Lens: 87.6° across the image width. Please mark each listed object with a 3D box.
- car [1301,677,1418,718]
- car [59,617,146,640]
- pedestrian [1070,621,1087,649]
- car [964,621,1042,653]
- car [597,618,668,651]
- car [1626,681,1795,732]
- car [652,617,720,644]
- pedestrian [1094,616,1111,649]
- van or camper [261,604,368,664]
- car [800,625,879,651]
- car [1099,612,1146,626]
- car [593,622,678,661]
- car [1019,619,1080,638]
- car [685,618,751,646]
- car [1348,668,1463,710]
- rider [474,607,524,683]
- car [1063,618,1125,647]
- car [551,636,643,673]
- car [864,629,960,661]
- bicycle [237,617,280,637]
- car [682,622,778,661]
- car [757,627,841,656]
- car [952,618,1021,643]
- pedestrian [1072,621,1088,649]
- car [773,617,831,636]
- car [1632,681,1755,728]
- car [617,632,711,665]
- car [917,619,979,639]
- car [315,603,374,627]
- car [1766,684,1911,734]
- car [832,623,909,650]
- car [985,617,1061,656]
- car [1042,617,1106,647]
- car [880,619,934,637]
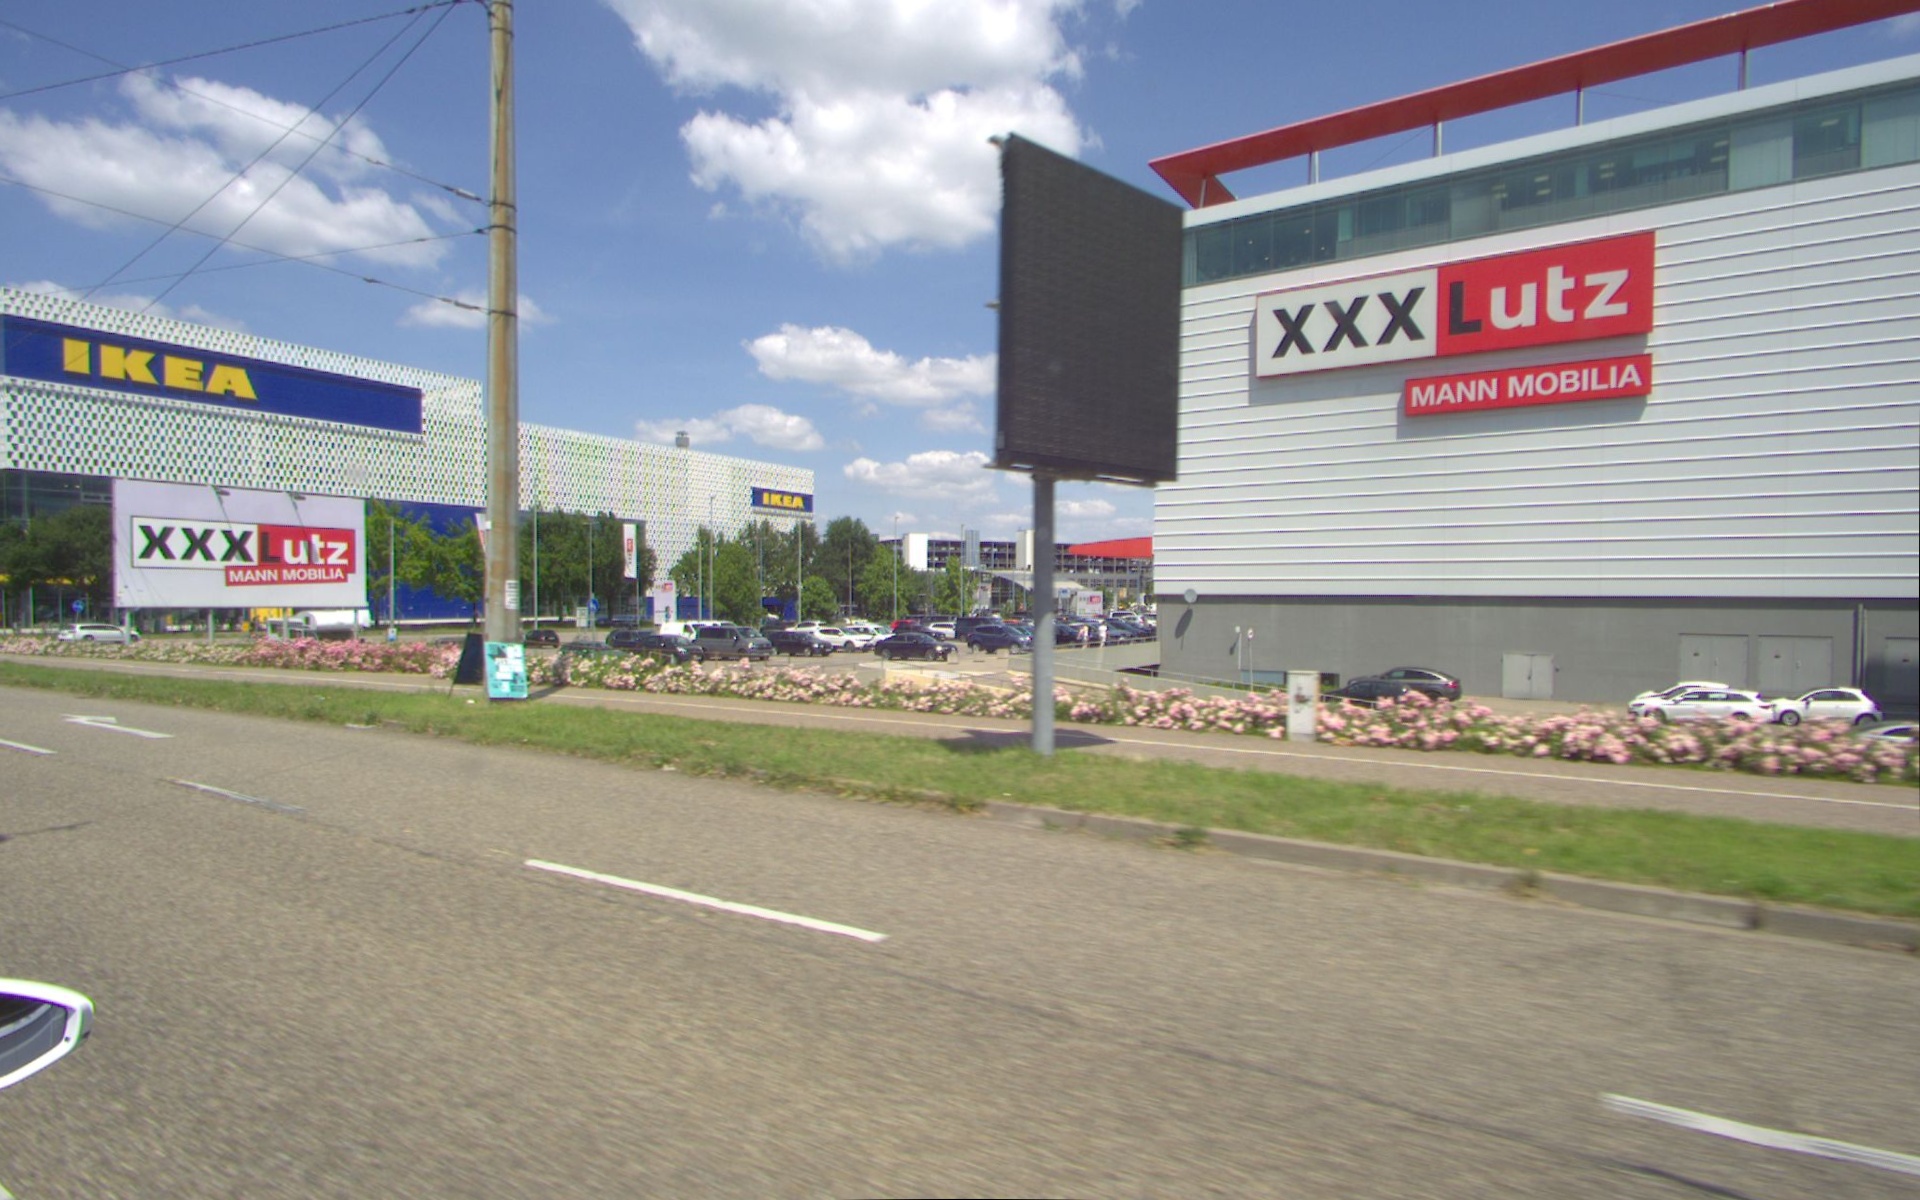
[{"bbox_3d":[16.611,4.031,41.648,4.288,1.416,1.991,0,-2,31],"label":"car"},{"bbox_3d":[-62.020,2.077,72.495,1.964,1.505,4.386,1,-2,17],"label":"car"},{"bbox_3d":[6.839,2.009,57.683,0.725,1.578,0.740,0,-1,30],"label":"pedestrian"},{"bbox_3d":[2.547,2.221,59.856,4.271,1.804,1.991,0,-3,33],"label":"car"},{"bbox_3d":[-22.648,2.349,69.094,4.929,2.162,1.990,0,-1,33],"label":"car"},{"bbox_3d":[28.968,4.086,38.892,5.073,1.632,1.990,-1,-2,32],"label":"car"},{"bbox_3d":[-20.005,2.209,73.077,4.929,1.876,1.990,0,-1,33],"label":"car"},{"bbox_3d":[8.259,1.876,57.995,0.725,1.893,0.740,0,-1,30],"label":"pedestrian"},{"bbox_3d":[-34.931,1.812,54.113,7.128,3.059,2.500,0,-1,36],"label":"van or camper"},{"bbox_3d":[-7.805,2.440,64.856,4.929,1.631,1.990,0,-2,33],"label":"car"},{"bbox_3d":[18.640,2.185,115.033,4.929,1.631,1.990,0,-2,33],"label":"car"},{"bbox_3d":[-18.590,2.340,57.308,4.929,2.040,1.989,0,1,33],"label":"car"},{"bbox_3d":[7.802,2.483,87.227,4.929,1.631,1.990,0,-2,33],"label":"car"},{"bbox_3d":[-18.184,2.371,75.137,4.929,2.033,1.990,0,-1,33],"label":"car"},{"bbox_3d":[20.063,3.965,45.094,4.523,1.632,1.990,-1,-2,32],"label":"car"},{"bbox_3d":[-9.187,0.891,19.954,0.609,1.476,0.668,0,-1,32],"label":"rider"},{"bbox_3d":[9.541,2.294,71.353,3.943,2.040,1.990,-1,-1,32],"label":"car"},{"bbox_3d":[-17.434,2.584,48.069,4.241,1.517,1.988,0,2,33],"label":"car"},{"bbox_3d":[-2.619,2.380,53.876,4.929,1.631,1.990,0,-2,33],"label":"car"},{"bbox_3d":[-52.389,2.005,74.790,0.976,1.500,2.415,0,-1,37],"label":"bicycle"},{"bbox_3d":[-12.981,2.309,56.355,5.456,2.039,1.990,0,-1,33],"label":"car"},{"bbox_3d":[-9.699,2.486,60.347,4.929,1.631,1.990,0,-2,33],"label":"car"},{"bbox_3d":[2.063,2.390,79.037,5.105,1.889,1.991,0,-1,31],"label":"car"},{"bbox_3d":[7.020,2.050,58.620,0.725,1.578,0.740,0,-1,30],"label":"pedestrian"},{"bbox_3d":[-14.125,2.386,89.708,4.921,1.631,1.993,0,-1,27],"label":"car"},{"bbox_3d":[30.174,4.263,41.361,3.943,1.632,1.990,-1,-2,32],"label":"car"},{"bbox_3d":[-15.448,2.490,52.235,4.929,1.570,1.990,0,-2,33],"label":"car"},{"bbox_3d":[-1.042,2.441,84.806,4.929,1.631,1.990,0,-2,33],"label":"car"},{"bbox_3d":[-61.975,1.539,100.910,1.971,2.338,4.753,0,-1,31],"label":"car"},{"bbox_3d":[33.861,4.166,38.761,3.943,1.632,1.990,-1,-2,32],"label":"car"},{"bbox_3d":[-6.013,2.427,67.021,4.929,1.671,1.990,0,-2,33],"label":"car"},{"bbox_3d":[3.914,2.256,62.173,4.271,2.357,1.990,0,-2,33],"label":"car"},{"bbox_3d":[7.886,2.197,69.311,3.943,2.039,1.990,0,-1,32],"label":"car"},{"bbox_3d":[-5.129,2.700,95.919,4.929,1.631,1.990,0,-2,33],"label":"car"}]
